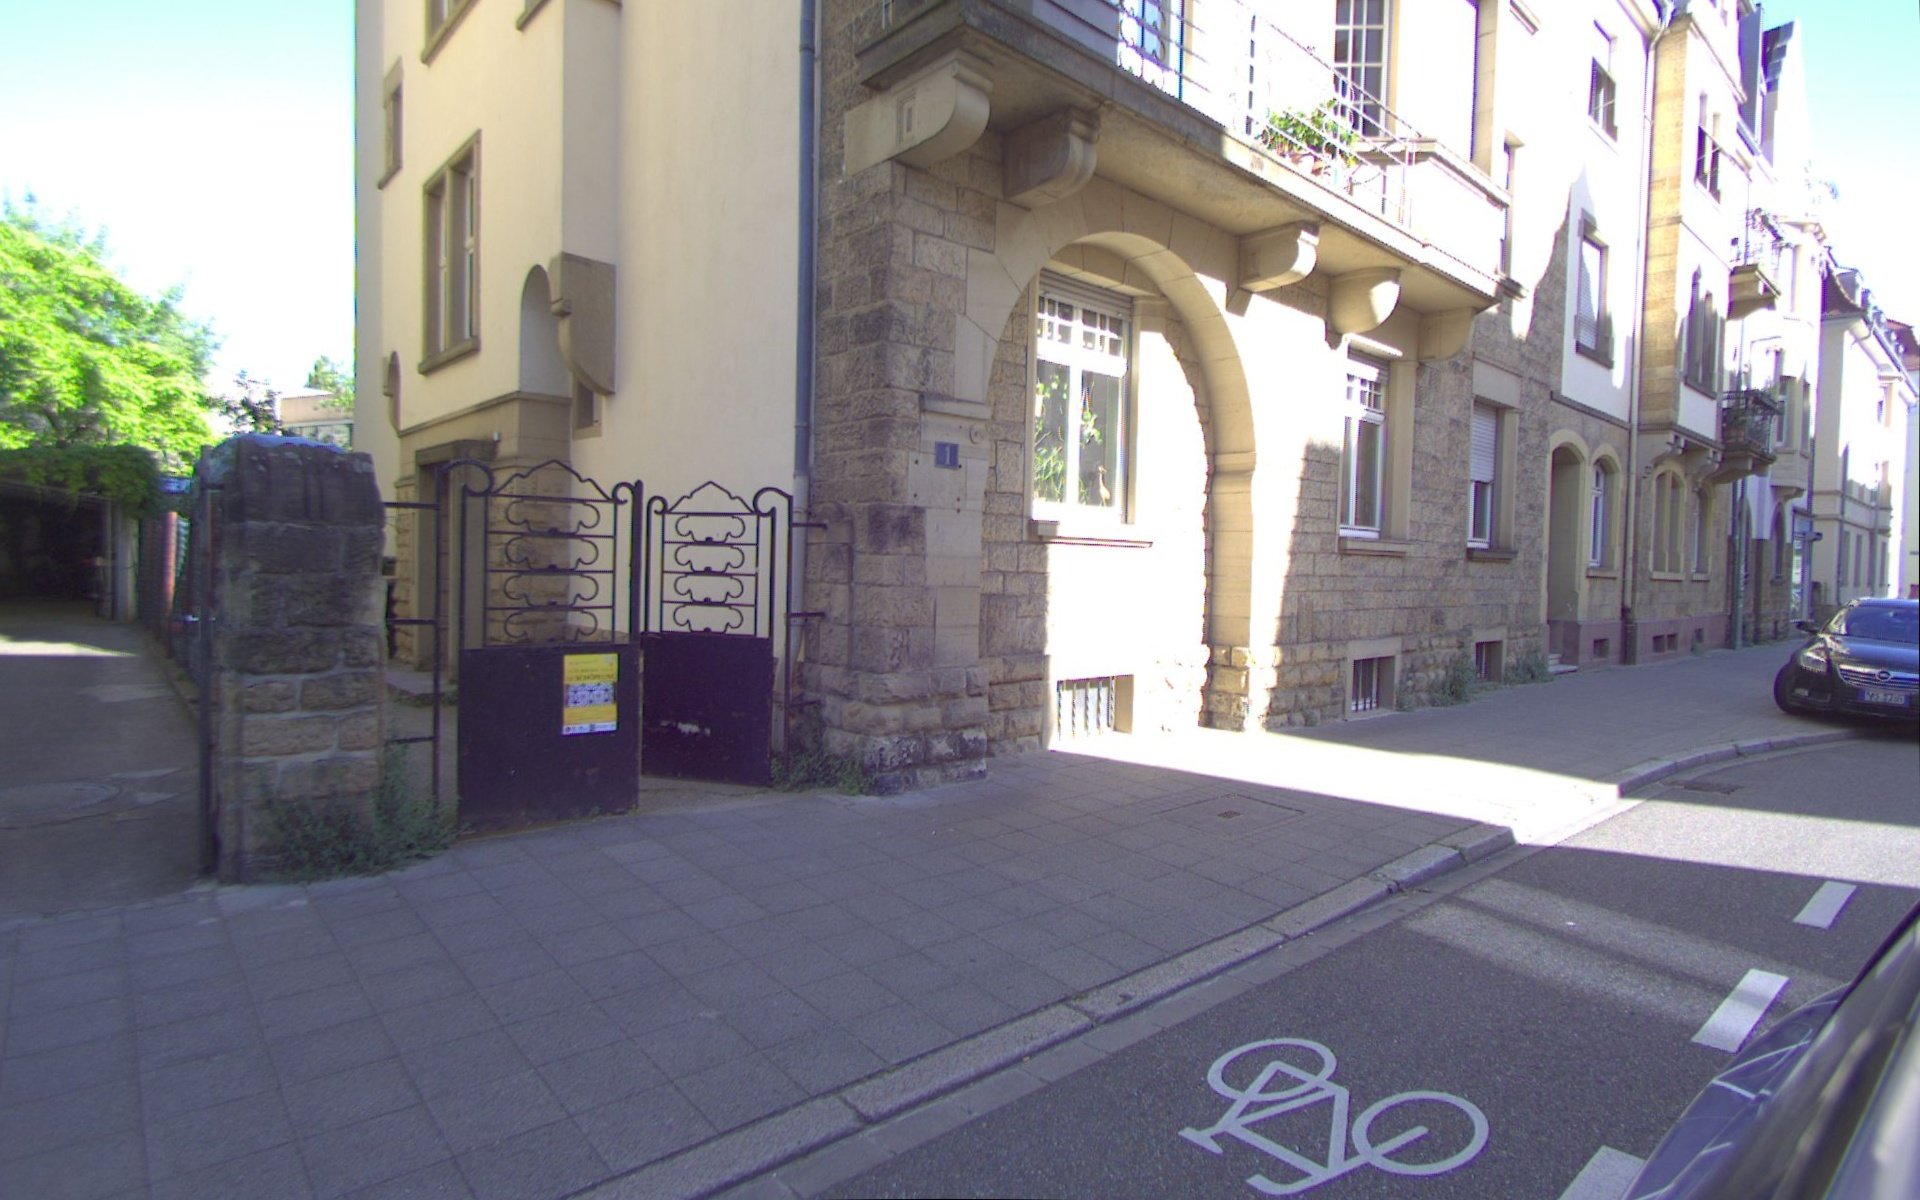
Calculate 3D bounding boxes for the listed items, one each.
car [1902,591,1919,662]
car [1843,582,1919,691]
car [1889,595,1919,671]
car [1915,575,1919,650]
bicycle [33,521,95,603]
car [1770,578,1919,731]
[{"bbox_3d":[22.165,0.584,22.188,4.247,1.440,1.823,-1,4,-42],"label":"car"},{"bbox_3d":[15.526,0.568,15.863,4.247,1.527,2.004,0,3,-42],"label":"car"},{"bbox_3d":[18.789,0.621,18.967,3.667,1.295,1.659,-1,4,-42],"label":"car"},{"bbox_3d":[26.228,0.339,26.046,4.247,1.860,2.004,-1,4,-42],"label":"car"},{"bbox_3d":[-18.307,-0.811,20.720,0.903,1.530,2.672,0,4,-41],"label":"bicycle"},{"bbox_3d":[11.477,0.571,12.161,4.043,1.526,2.023,-1,5,-42],"label":"car"}]
